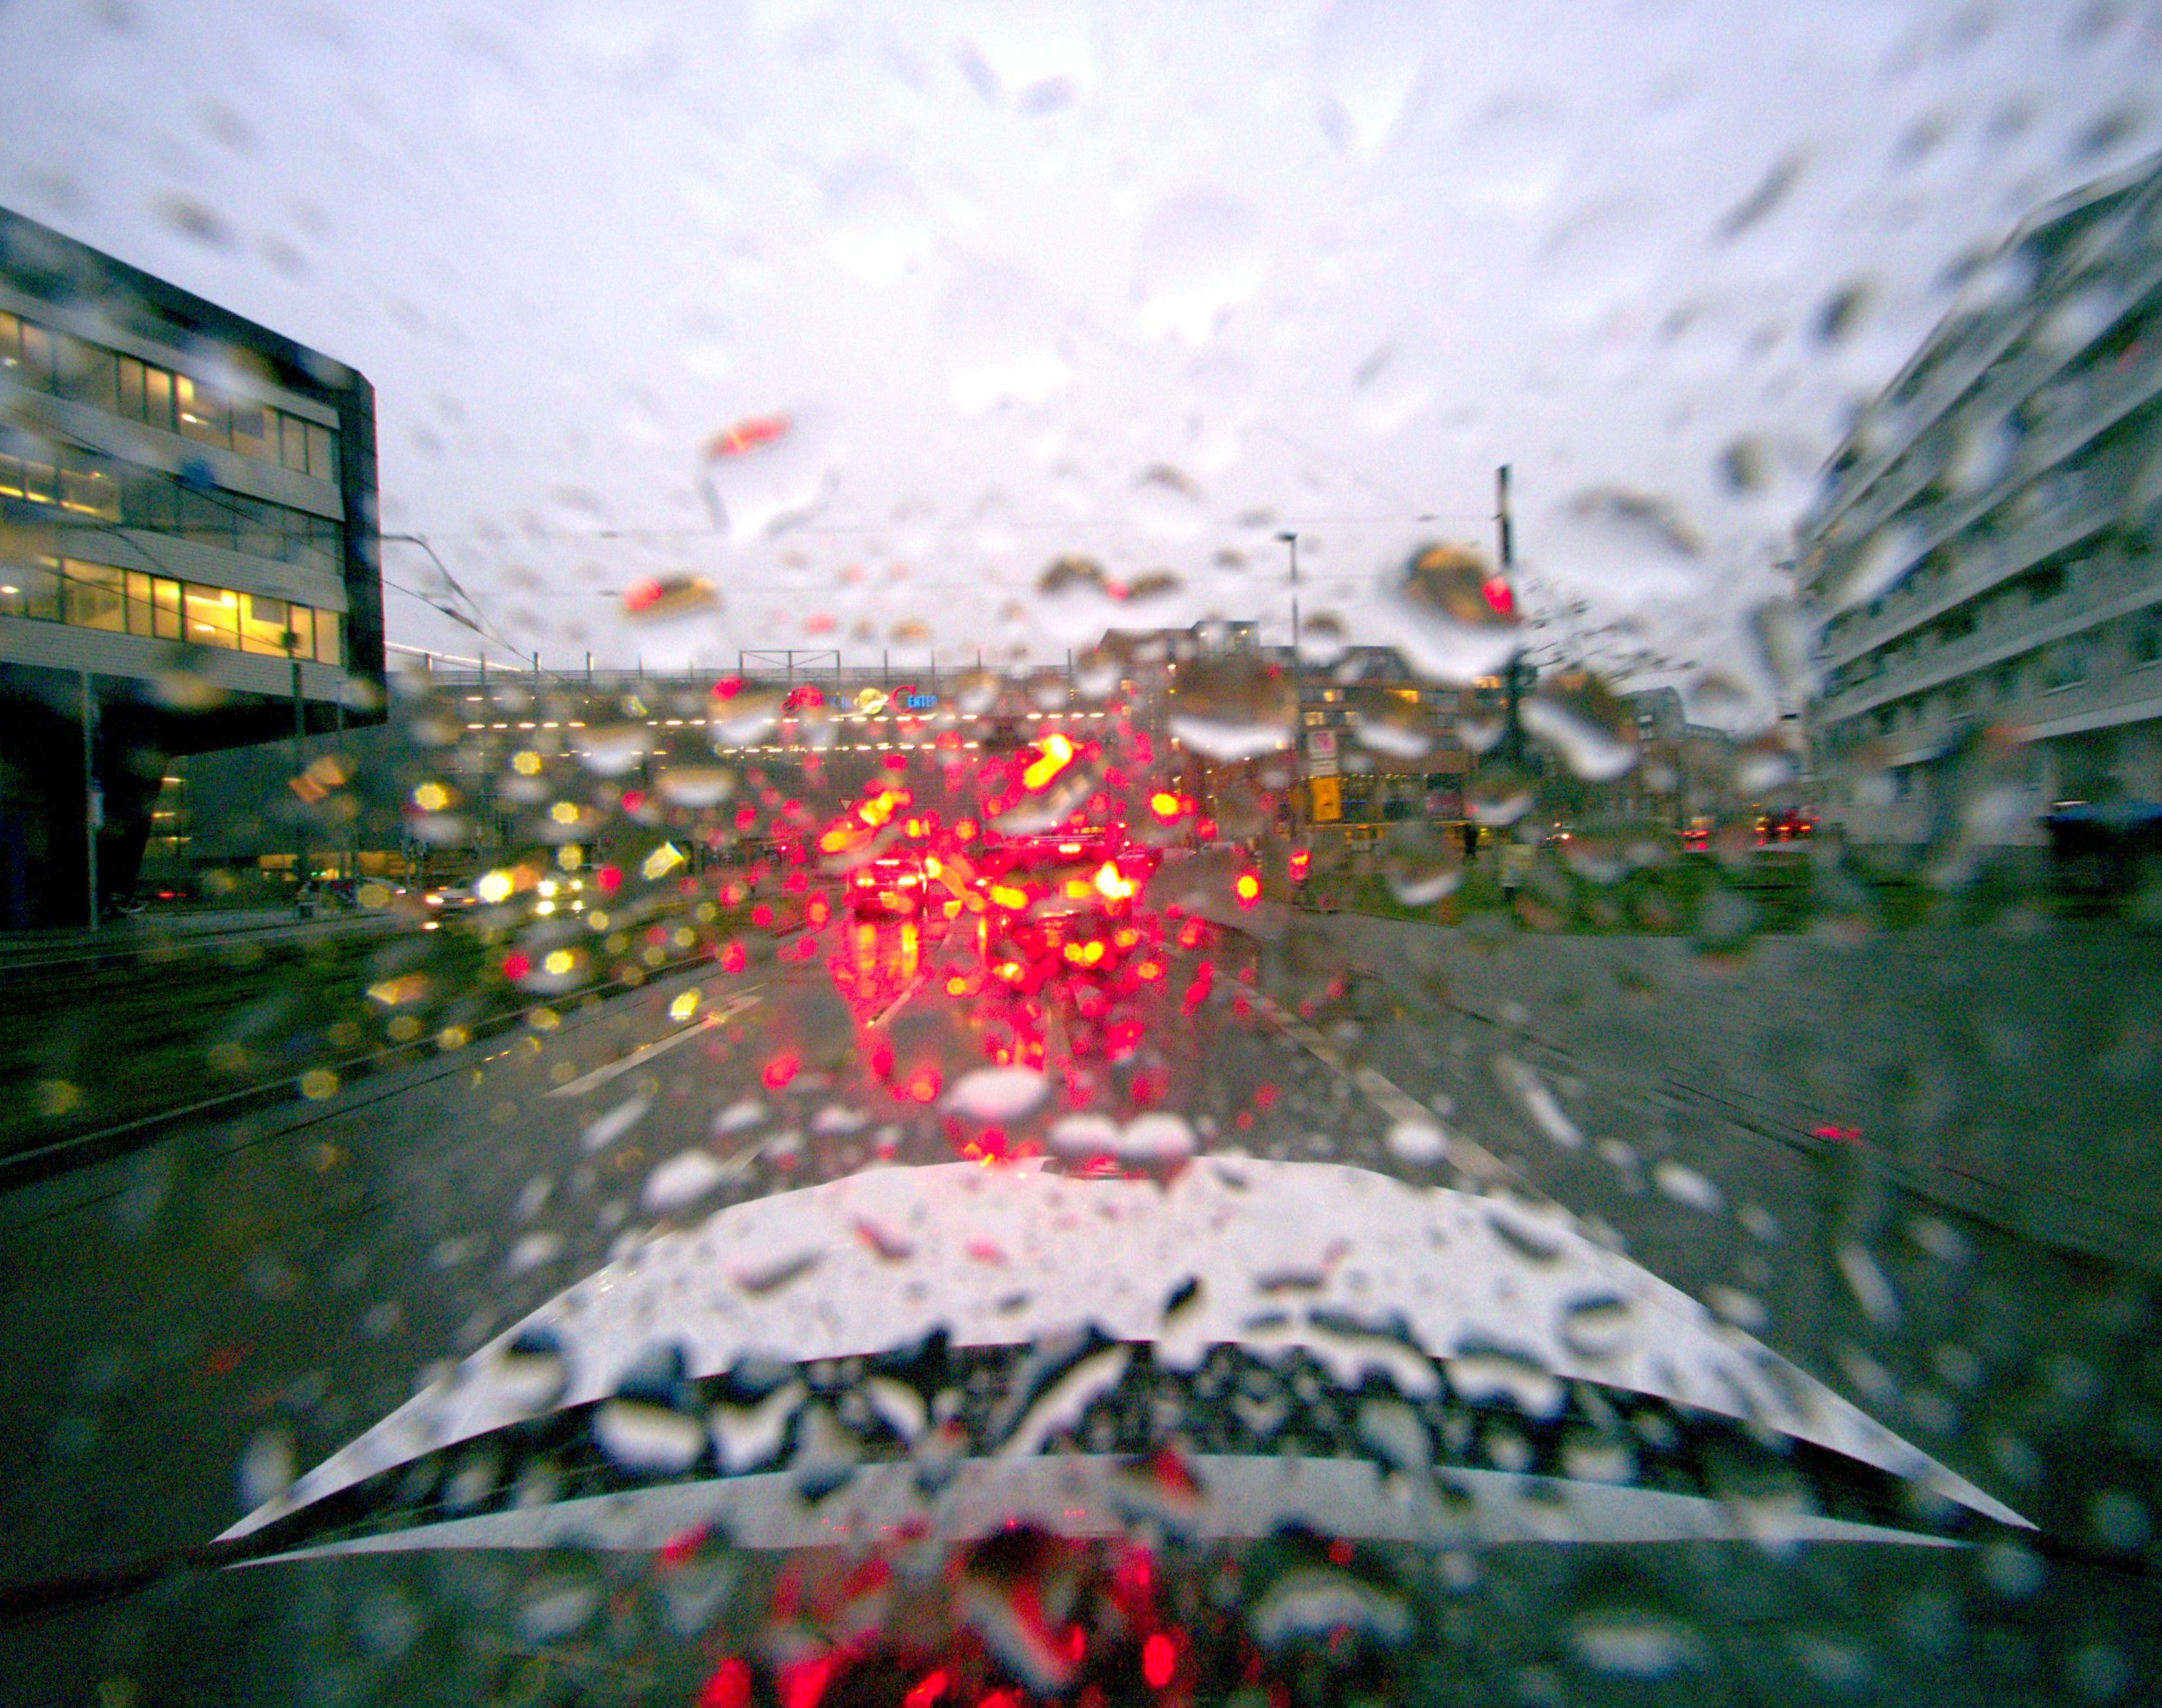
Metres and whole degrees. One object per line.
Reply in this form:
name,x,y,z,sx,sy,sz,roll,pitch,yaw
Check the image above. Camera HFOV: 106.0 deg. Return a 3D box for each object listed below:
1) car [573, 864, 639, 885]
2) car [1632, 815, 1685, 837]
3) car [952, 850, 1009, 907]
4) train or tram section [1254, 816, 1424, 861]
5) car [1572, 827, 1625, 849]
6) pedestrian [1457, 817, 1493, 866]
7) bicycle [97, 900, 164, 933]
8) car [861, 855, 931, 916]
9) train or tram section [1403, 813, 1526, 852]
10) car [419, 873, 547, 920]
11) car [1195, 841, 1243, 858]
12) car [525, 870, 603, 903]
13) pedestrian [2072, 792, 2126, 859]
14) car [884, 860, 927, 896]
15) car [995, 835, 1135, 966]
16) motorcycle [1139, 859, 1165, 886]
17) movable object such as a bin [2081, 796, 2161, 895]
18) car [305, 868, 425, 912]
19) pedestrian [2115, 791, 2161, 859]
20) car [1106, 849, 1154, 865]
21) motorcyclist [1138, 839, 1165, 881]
car,-45.036,1.935,77.282,5.081,1.962,1.883,0,0,-12
car,55.642,-2.686,78.442,4.956,2.013,1.984,0,0,-25
car,-3.350,0.766,26.760,1.636,1.697,3.657,-1,0,-10
train or tram section,23.333,-1.457,73.065,16.668,3.260,2.320,-3,0,-21
car,48.064,-1.487,75.651,3.995,2.013,1.989,-1,0,-16
pedestrian,15.856,-0.495,32.802,1.161,1.924,0.902,0,0,17
bicycle,-35.949,2.361,30.824,0.552,1.090,1.612,-3,0,2
car,-5.436,0.883,24.321,1.753,1.574,3.986,-3,0,-10
train or tram section,36.964,-2.099,78.291,13.007,3.260,2.320,-3,0,-21
car,-21.652,1.492,29.766,1.820,1.435,4.641,0,0,-9
car,13.953,-0.445,82.336,4.425,1.595,1.791,1,-1,-14
car,-25.387,1.545,40.163,1.657,1.400,4.507,0,0,-10
pedestrian,26.410,-0.734,21.142,0.669,1.714,0.609,0,0,24
car,-7.008,0.916,32.397,1.542,1.251,4.049,-2,0,-13
car,-0.426,0.616,12.993,1.734,1.738,4.235,0,0,-8
motorcycle,2.675,0.683,30.820,0.850,0.971,1.581,-3,0,0
movable object such as a bin,16.226,-0.157,12.290,1.004,1.416,1.232,-4,0,31
car,-36.254,1.776,41.387,3.997,1.874,1.988,-4,1,-17
pedestrian,27.152,-0.734,20.810,0.669,1.714,0.633,0,0,24
car,4.816,0.298,80.483,4.424,1.390,1.792,-3,0,-13
motorcyclist,2.665,0.212,30.833,0.865,1.534,1.108,-3,0,0
